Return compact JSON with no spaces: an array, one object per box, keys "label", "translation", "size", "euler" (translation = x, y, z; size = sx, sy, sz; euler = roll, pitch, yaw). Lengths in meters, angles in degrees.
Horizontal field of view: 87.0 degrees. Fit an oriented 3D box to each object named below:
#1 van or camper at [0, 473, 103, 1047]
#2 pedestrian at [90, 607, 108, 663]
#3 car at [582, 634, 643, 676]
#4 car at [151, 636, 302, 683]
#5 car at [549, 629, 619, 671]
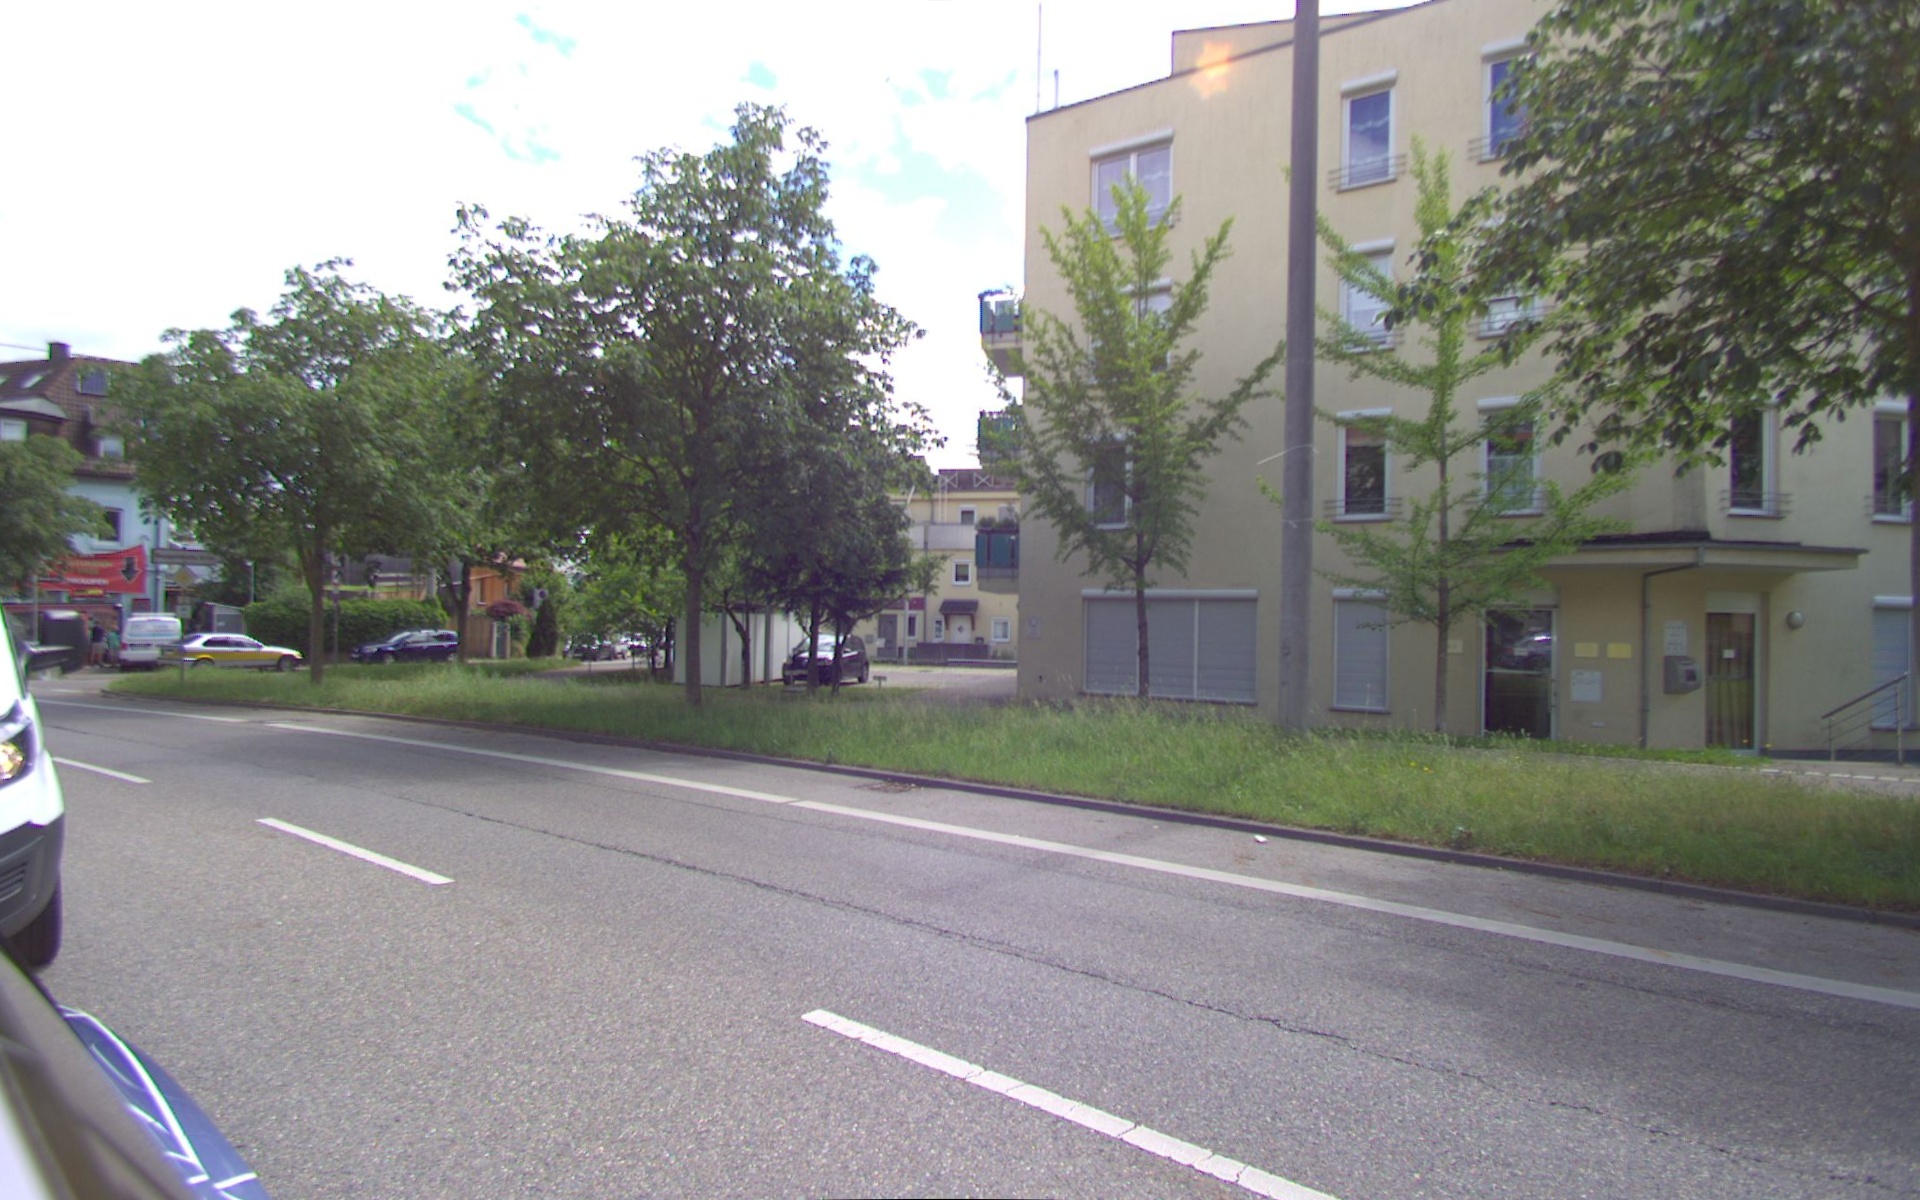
[{"label":"van or camper","translation":[-5.793,0.595,4.729],"size":[5.101,2.029,2.000],"euler":[-2,-3,42]},{"label":"pedestrian","translation":[-31.784,1.278,37.352],"size":[0.363,2.029,0.419],"euler":[-1,0,41]},{"label":"car","translation":[-18.838,2.939,55.040],"size":[1.972,2.029,4.001],"euler":[-1,0,-1]},{"label":"car","translation":[-25.334,2.022,35.104],"size":[1.529,1.332,4.008],"euler":[-1,0,27]},{"label":"car","translation":[-18.861,2.491,50.949],"size":[1.954,2.029,3.998],"euler":[0,-2,1]}]
